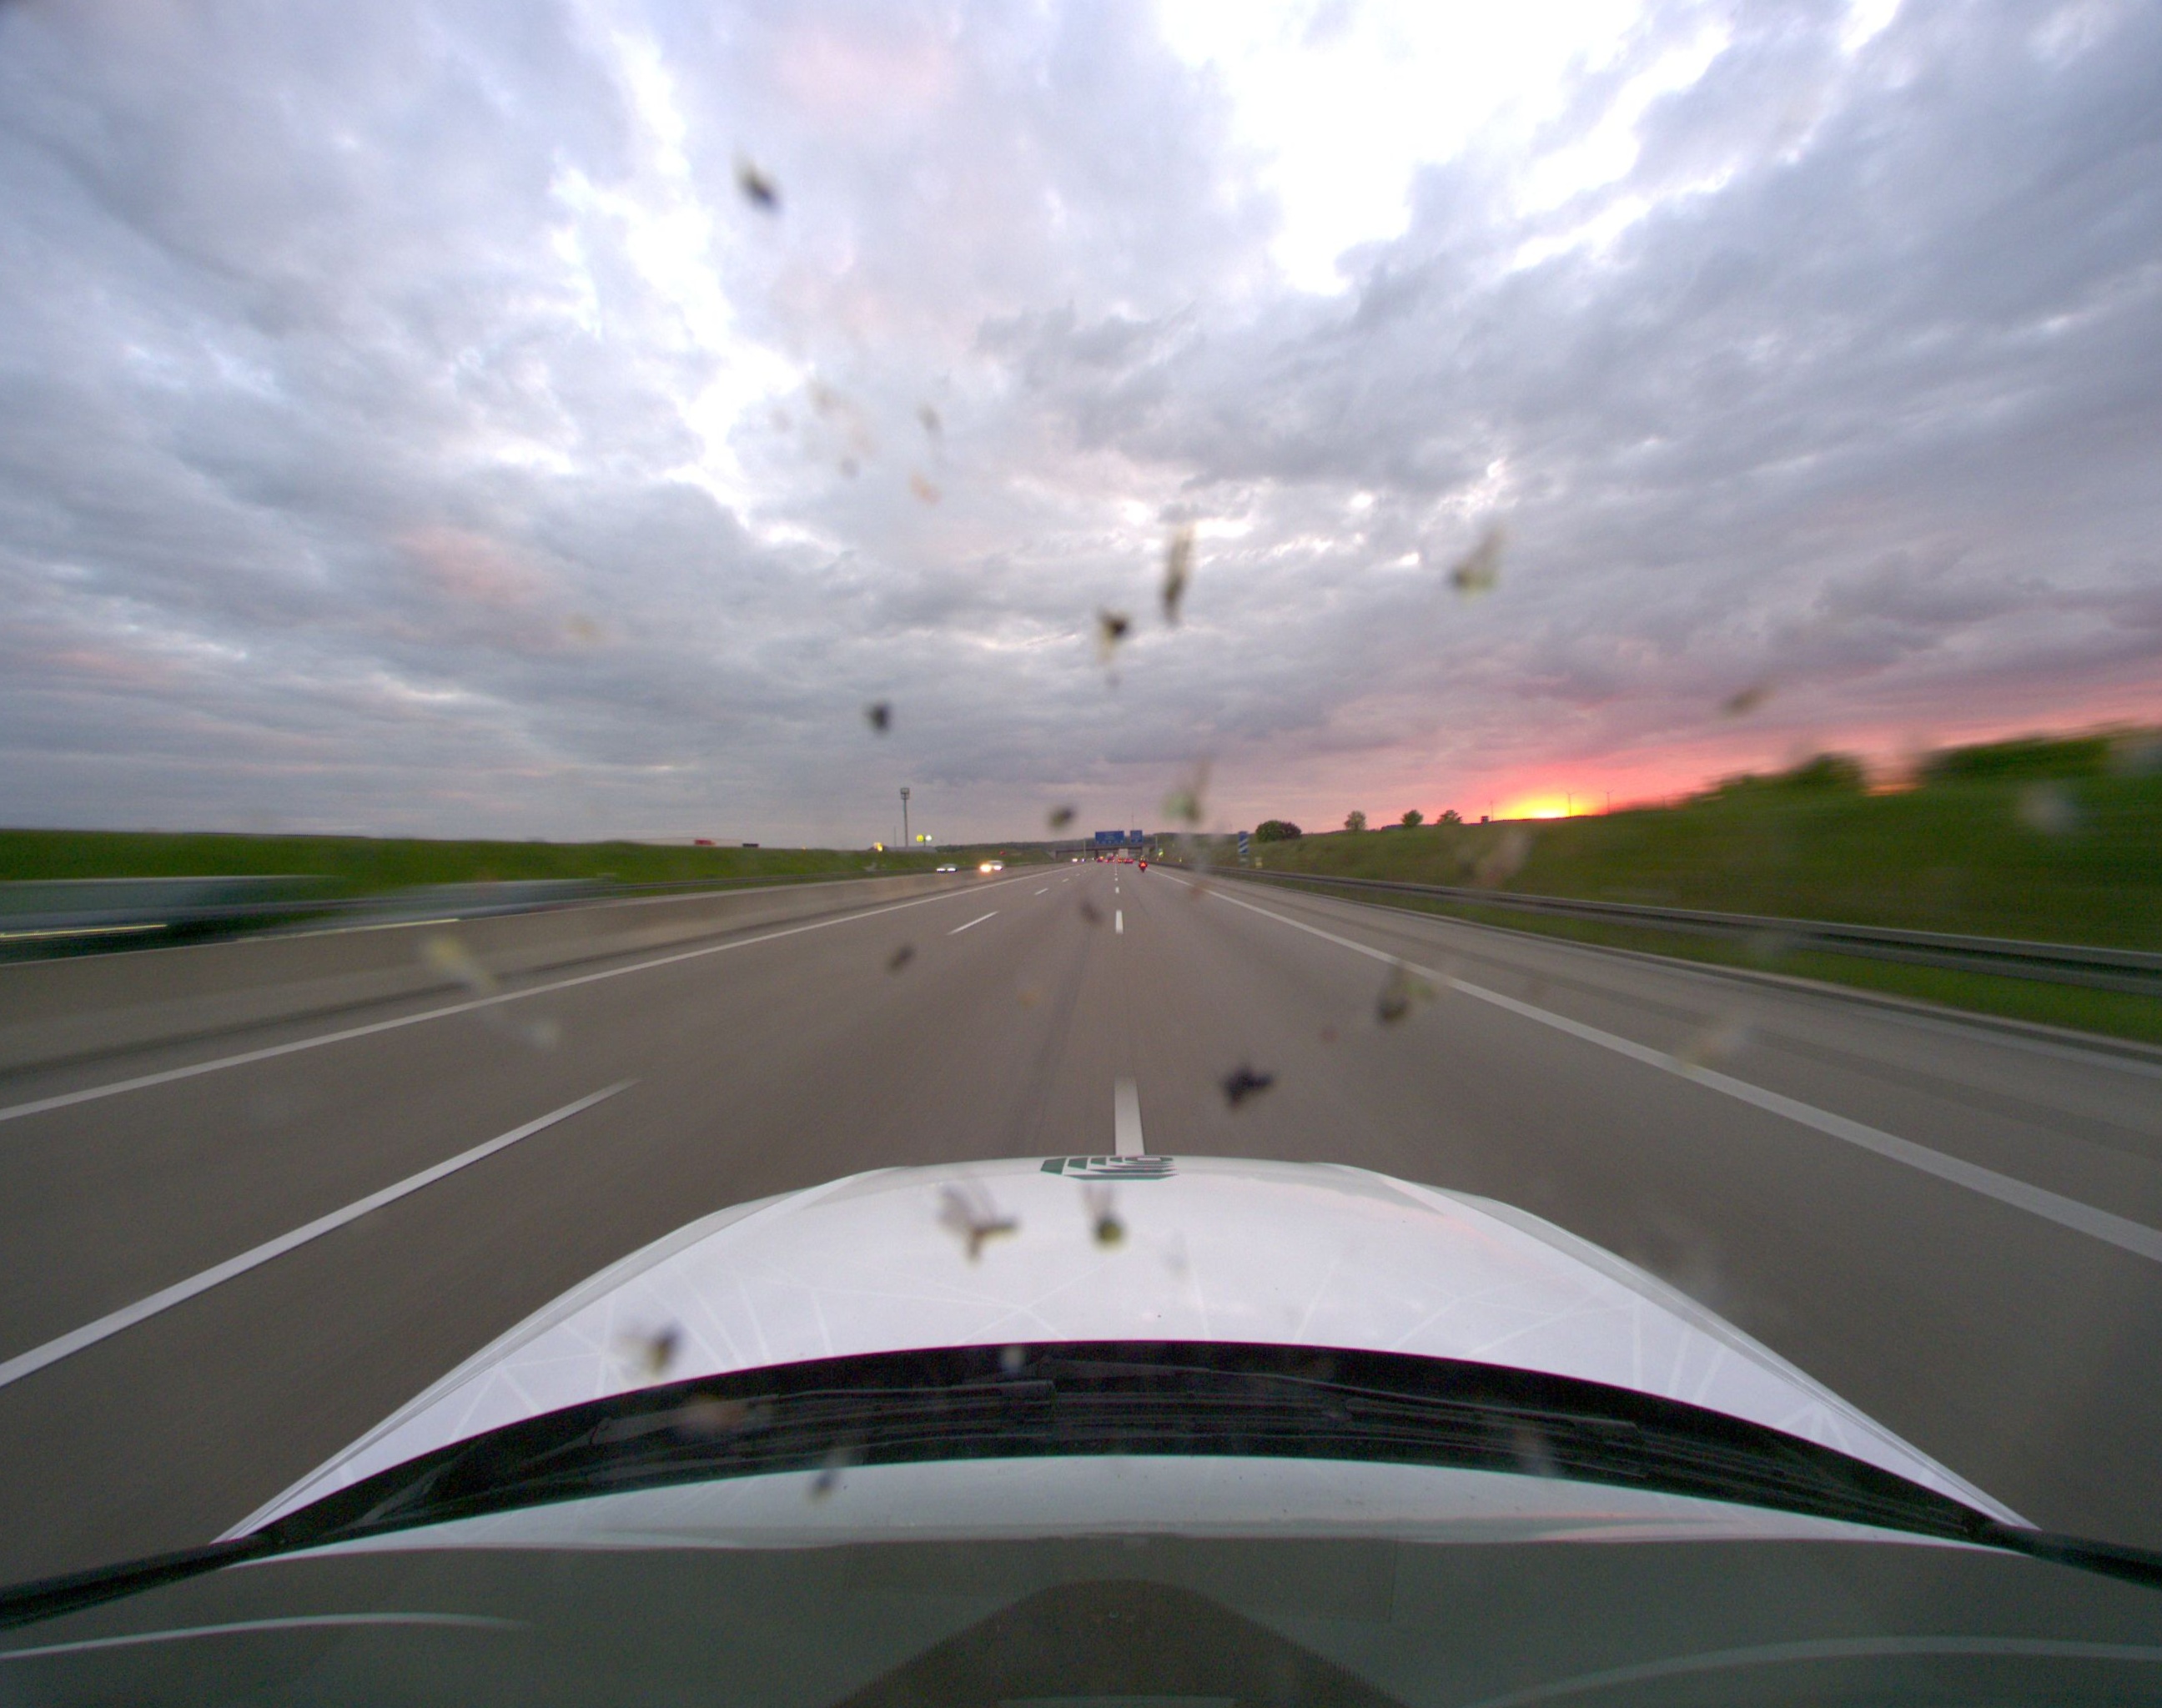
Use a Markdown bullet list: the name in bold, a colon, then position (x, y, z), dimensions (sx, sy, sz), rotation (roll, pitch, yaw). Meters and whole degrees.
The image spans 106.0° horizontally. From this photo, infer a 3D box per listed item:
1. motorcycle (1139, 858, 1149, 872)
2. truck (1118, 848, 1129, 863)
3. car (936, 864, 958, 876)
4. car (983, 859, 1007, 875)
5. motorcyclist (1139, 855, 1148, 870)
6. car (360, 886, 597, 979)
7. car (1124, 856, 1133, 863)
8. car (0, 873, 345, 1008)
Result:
- **motorcycle**: position (6.306, 1.121, 81.710), dimensions (0.898, 1.346, 2.350), rotation (-1, 0, 3)
- **truck**: position (12.094, 0.473, 231.974), dimensions (3.220, 4.227, 9.605), rotation (0, 0, 3)
- **car**: position (-16.319, 1.932, 99.277), dimensions (1.732, 1.392, 4.344), rotation (-2, 0, 2)
- **car**: position (-9.729, 1.482, 92.355), dimensions (1.986, 1.735, 5.184), rotation (-2, 0, 1)
- **motorcyclist**: position (6.282, 0.804, 81.522), dimensions (0.862, 1.487, 1.169), rotation (0, 0, 4)
- **car**: position (-12.219, 1.508, 16.923), dimensions (1.732, 1.499, 4.132), rotation (-2, 0, 2)
- **car**: position (11.094, 1.319, 189.172), dimensions (1.911, 1.579, 4.001), rotation (-2, 0, 1)
- **car**: position (-16.289, 1.337, 14.266), dimensions (2.092, 1.810, 5.023), rotation (-2, 0, 1)
